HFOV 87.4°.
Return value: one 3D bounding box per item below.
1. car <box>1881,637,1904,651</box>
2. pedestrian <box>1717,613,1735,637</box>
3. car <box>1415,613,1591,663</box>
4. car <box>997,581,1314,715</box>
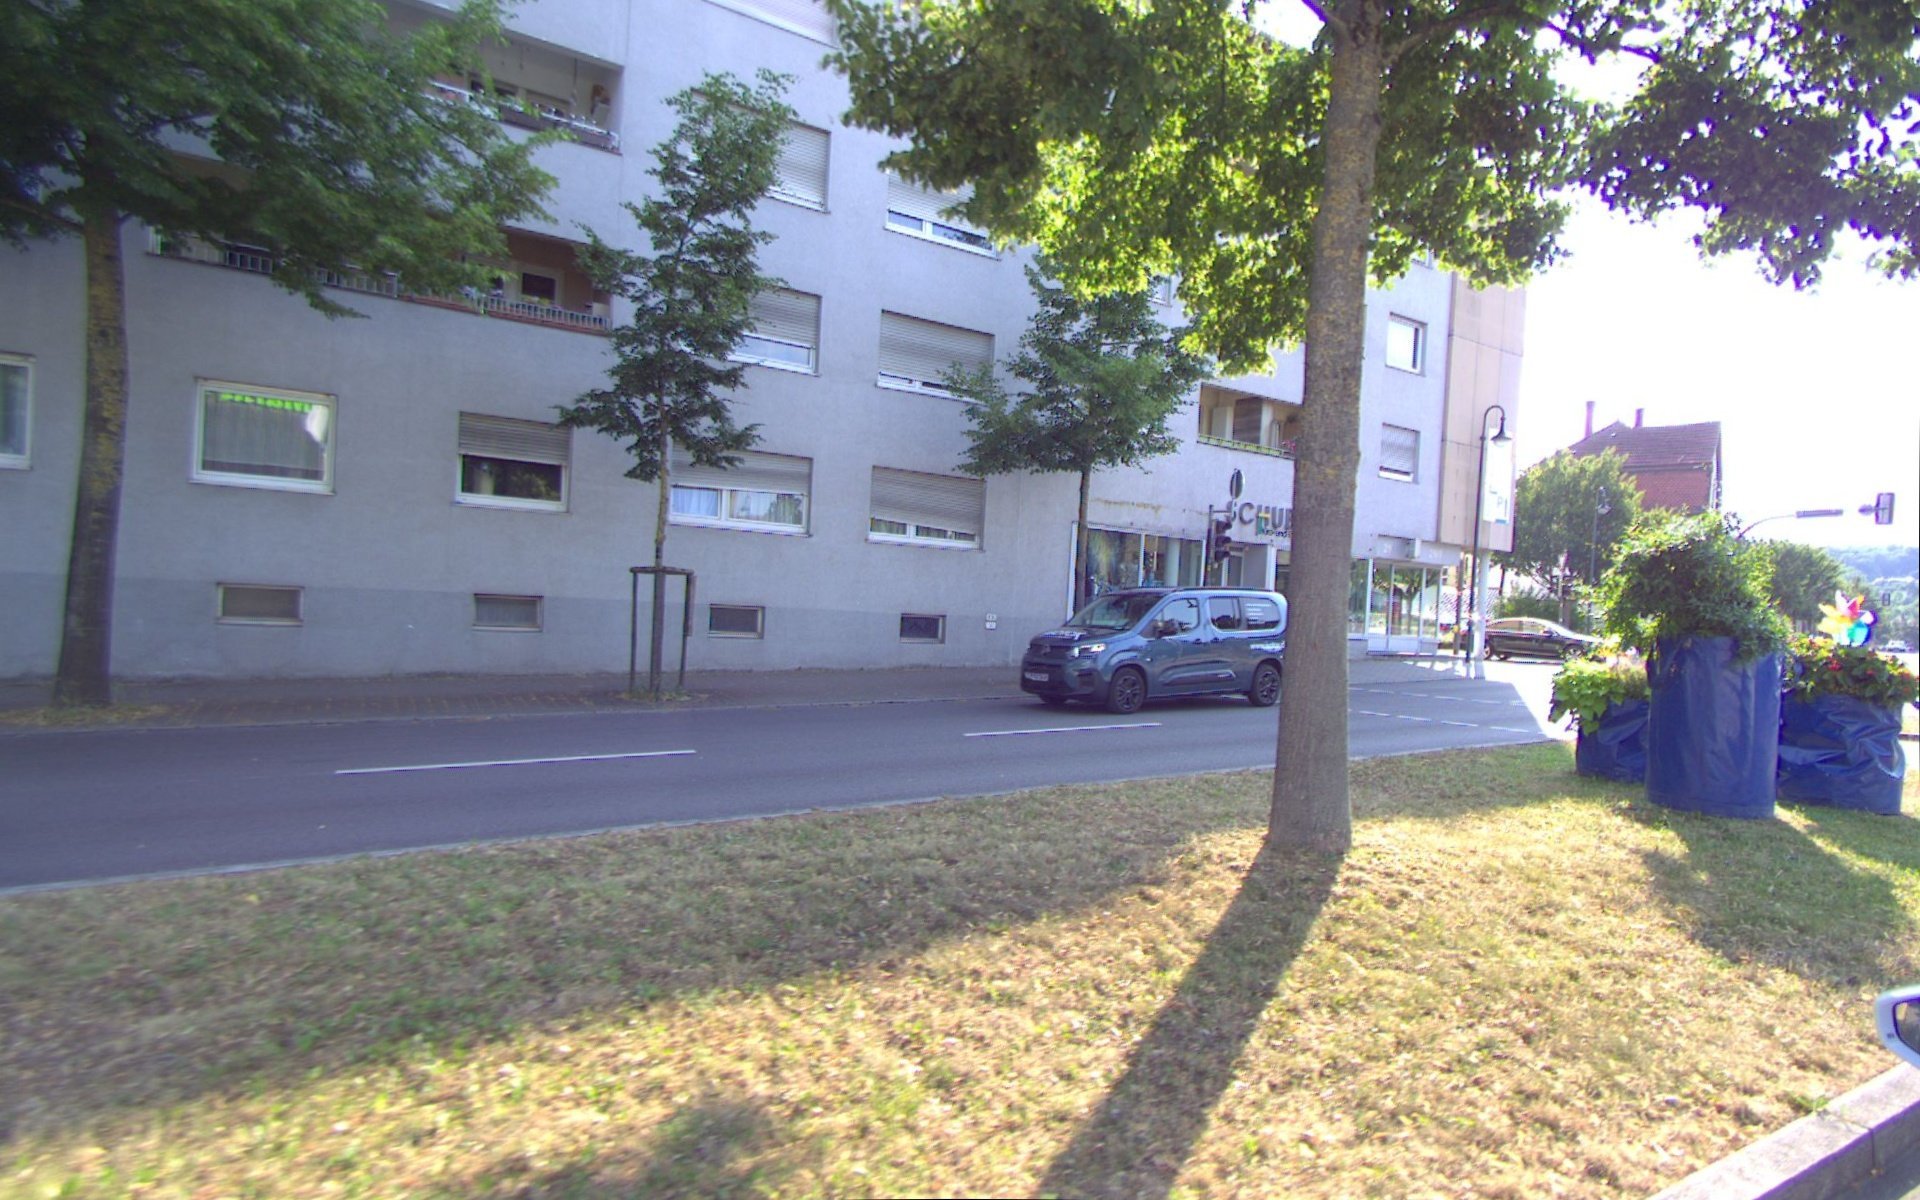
[{"bbox_3d":[103.654,4.890,111.594,1.738,1.379,4.457,2,0,44],"label":"car"},{"bbox_3d":[47.890,1.566,62.792,0.803,1.413,0.703,2,0,42],"label":"pedestrian"},{"bbox_3d":[18.074,1.224,33.654,1.901,1.456,4.820,2,-1,-38],"label":"car"},{"bbox_3d":[3.078,0.692,15.297,4.872,1.759,1.841,2,-1,-35],"label":"car"}]
